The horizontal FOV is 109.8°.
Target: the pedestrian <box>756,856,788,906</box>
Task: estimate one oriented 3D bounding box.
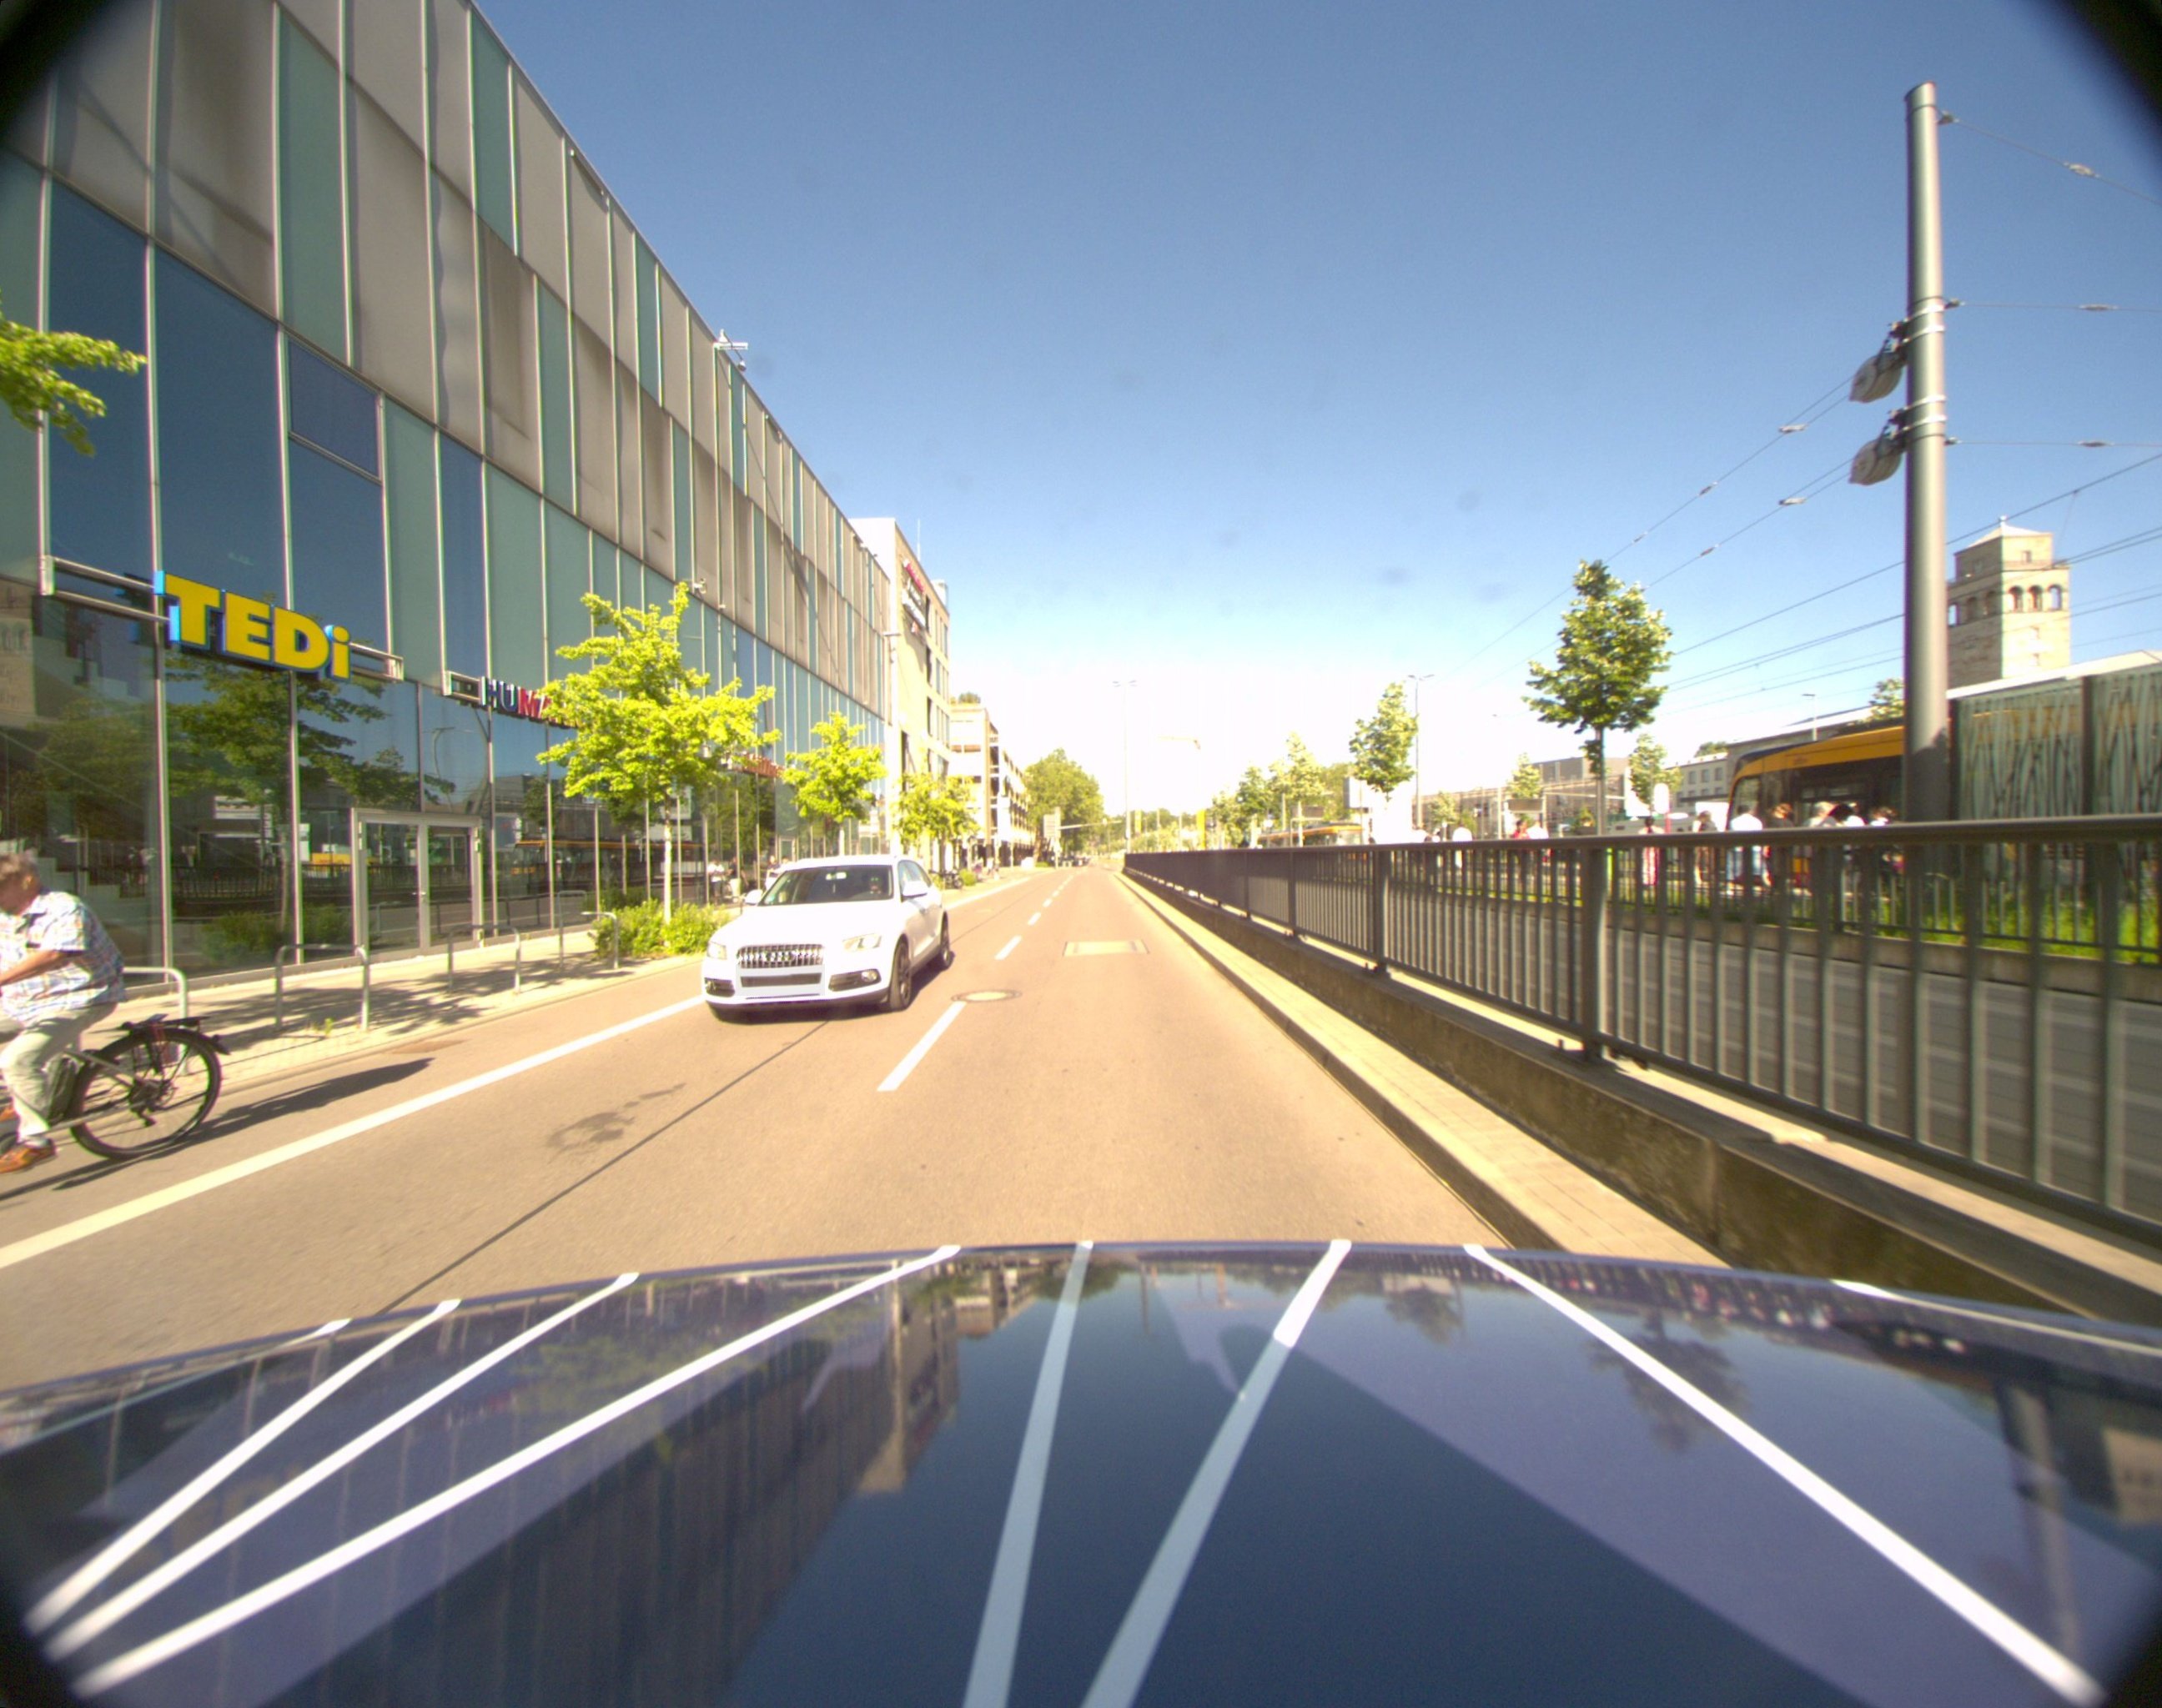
[{"bbox_3d":[-10.290,0.885,25.293,0.708,1.648,0.900,1,1,-3],"label":"pedestrian"}]

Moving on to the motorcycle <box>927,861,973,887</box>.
[{"bbox_3d":[-6.952,1.060,40.396,2.193,1.316,0.903,0,1,5],"label":"motorcycle"}]

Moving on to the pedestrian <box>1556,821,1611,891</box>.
[{"bbox_3d":[11.948,0.046,18.097,0.743,1.619,0.861,-1,1,2],"label":"pedestrian"}]

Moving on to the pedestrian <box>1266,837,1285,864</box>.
[{"bbox_3d":[12.806,-0.211,50.093,0.876,1.764,1.189,-3,0,-2],"label":"pedestrian"}]

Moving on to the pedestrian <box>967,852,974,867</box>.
[{"bbox_3d":[-11.590,0.561,79.876,0.662,1.603,0.526,1,1,-7],"label":"pedestrian"}]

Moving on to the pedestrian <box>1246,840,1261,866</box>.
[{"bbox_3d":[12.066,-0.081,53.133,0.705,1.764,0.959,-3,0,-2],"label":"pedestrian"}]

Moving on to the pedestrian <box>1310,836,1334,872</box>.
[{"bbox_3d":[12.129,-0.009,38.267,0.793,1.764,0.979,-3,0,-2],"label":"pedestrian"}]

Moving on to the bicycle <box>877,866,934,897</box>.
[{"bbox_3d":[-7.266,1.128,31.546,2.089,1.198,0.951,0,1,7],"label":"bicycle"}]

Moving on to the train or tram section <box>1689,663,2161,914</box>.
[{"bbox_3d":[15.474,-0.912,10.010,2.877,3.260,15.185,-3,0,1],"label":"train or tram section"}]

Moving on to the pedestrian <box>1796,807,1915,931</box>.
[{"bbox_3d":[10.578,0.194,10.408,0.743,1.619,0.861,-1,1,2],"label":"pedestrian"}]

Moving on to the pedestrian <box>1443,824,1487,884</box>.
[{"bbox_3d":[12.160,-0.014,24.085,0.889,1.840,1.007,-1,1,1],"label":"pedestrian"}]

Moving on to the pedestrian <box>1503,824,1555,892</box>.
[{"bbox_3d":[10.925,0.089,18.552,0.743,1.619,0.861,-1,1,2],"label":"pedestrian"}]

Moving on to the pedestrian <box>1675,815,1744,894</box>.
[{"bbox_3d":[13.238,0.007,16.034,0.743,1.619,0.861,-1,1,2],"label":"pedestrian"}]

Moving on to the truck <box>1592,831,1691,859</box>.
[{"bbox_3d":[57.859,-0.909,78.601,8.023,2.776,2.464,-1,1,7],"label":"truck"}]

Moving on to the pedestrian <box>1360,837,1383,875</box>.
[{"bbox_3d":[12.063,0.084,31.511,0.649,1.504,0.588,-3,0,-2],"label":"pedestrian"}]

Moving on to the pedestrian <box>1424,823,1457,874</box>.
[{"bbox_3d":[13.140,-0.199,27.791,0.673,1.800,1.075,-1,1,0],"label":"pedestrian"}]

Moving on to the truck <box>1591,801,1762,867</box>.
[{"bbox_3d":[30.676,-0.966,39.714,2.725,2.952,7.953,-3,0,1],"label":"truck"}]

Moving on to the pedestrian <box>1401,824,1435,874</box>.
[{"bbox_3d":[12.374,-0.194,27.902,0.771,1.800,1.031,-1,1,0],"label":"pedestrian"}]

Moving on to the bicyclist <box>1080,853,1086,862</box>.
[{"bbox_3d":[0.305,0.569,122.232,0.830,1.380,0.904,-1,0,2],"label":"bicyclist"}]

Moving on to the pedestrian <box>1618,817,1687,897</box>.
[{"bbox_3d":[11.983,0.067,15.962,0.743,1.619,0.947,-1,1,2],"label":"pedestrian"}]

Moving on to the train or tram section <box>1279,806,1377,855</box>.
[{"bbox_3d":[19.574,-1.729,61.813,2.855,3.302,15.965,-4,0,1],"label":"train or tram section"}]

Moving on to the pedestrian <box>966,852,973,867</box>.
[{"bbox_3d":[-11.796,0.573,80.499,0.662,1.603,0.526,1,1,-7],"label":"pedestrian"}]

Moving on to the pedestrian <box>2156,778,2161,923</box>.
[{"bbox_3d":[12.466,-0.041,8.116,0.743,1.619,0.861,-1,1,2],"label":"pedestrian"}]

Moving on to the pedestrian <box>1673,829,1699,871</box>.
[{"bbox_3d":[23.082,-0.151,28.989,0.532,1.583,0.591,-1,1,-1],"label":"pedestrian"}]

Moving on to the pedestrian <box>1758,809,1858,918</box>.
[{"bbox_3d":[11.308,0.144,11.849,0.743,1.619,0.861,-1,1,2],"label":"pedestrian"}]

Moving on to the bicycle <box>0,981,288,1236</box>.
[{"bbox_3d":[-5.519,1.339,3.777,0.730,0.978,2.332,-2,0,-2],"label":"bicycle"}]

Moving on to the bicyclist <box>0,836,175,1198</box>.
[{"bbox_3d":[-5.536,0.780,3.817,0.727,1.727,0.997,-1,1,-2],"label":"bicyclist"}]

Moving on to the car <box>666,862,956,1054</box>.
[{"bbox_3d":[-2.748,0.945,8.932,1.824,1.604,4.412,-2,0,-1],"label":"car"}]

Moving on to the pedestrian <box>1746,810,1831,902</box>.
[{"bbox_3d":[12.943,0.041,13.928,0.743,1.619,0.861,-1,1,2],"label":"pedestrian"}]

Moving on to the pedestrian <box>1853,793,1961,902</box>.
[{"bbox_3d":[12.829,-0.092,11.828,0.743,1.619,0.861,-1,1,2],"label":"pedestrian"}]

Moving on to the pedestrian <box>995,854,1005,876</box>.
[{"bbox_3d":[-6.366,0.830,59.489,0.658,1.692,0.698,1,1,-1],"label":"pedestrian"}]

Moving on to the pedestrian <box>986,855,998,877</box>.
[{"bbox_3d":[-6.803,0.916,58.136,0.725,1.598,0.750,-1,0,2],"label":"pedestrian"}]

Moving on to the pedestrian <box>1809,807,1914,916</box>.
[{"bbox_3d":[12.075,0.108,11.785,0.743,1.619,0.861,-1,1,2],"label":"pedestrian"}]

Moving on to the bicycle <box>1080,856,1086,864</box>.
[{"bbox_3d":[0.304,0.962,122.232,0.845,1.123,2.553,-1,0,2],"label":"bicycle"}]

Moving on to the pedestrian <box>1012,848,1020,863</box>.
[{"bbox_3d":[-8.879,0.258,103.431,0.950,2.002,1.078,-1,1,-10],"label":"pedestrian"}]

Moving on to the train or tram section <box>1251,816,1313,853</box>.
[{"bbox_3d":[19.887,-1.787,76.314,2.877,3.290,13.073,-3,0,1],"label":"train or tram section"}]

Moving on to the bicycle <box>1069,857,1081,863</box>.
[{"bbox_3d":[-0.974,1.035,125.449,1.848,0.954,0.711,1,0,-3],"label":"bicycle"}]

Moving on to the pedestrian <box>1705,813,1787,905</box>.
[{"bbox_3d":[12.154,0.081,13.913,0.743,1.619,0.861,-1,1,2],"label":"pedestrian"}]

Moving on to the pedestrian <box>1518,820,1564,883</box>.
[{"bbox_3d":[12.690,-0.074,20.983,0.743,1.684,0.861,-1,1,2],"label":"pedestrian"}]

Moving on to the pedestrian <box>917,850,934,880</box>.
[{"bbox_3d":[-9.254,0.645,45.210,0.729,1.791,1.066,1,1,1],"label":"pedestrian"}]

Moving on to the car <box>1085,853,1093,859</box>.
[{"bbox_3d":[2.301,0.621,219.631,1.999,1.597,3.896,-1,0,0],"label":"car"}]

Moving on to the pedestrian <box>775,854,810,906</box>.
[{"bbox_3d":[-9.452,0.847,24.931,0.823,1.648,0.900,-1,1,-3],"label":"pedestrian"}]

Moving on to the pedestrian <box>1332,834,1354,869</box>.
[{"bbox_3d":[13.645,-0.127,39.607,0.763,1.764,0.826,-3,0,-2],"label":"pedestrian"}]

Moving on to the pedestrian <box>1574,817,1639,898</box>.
[{"bbox_3d":[10.849,0.063,15.708,0.743,1.619,0.861,-1,1,2],"label":"pedestrian"}]
